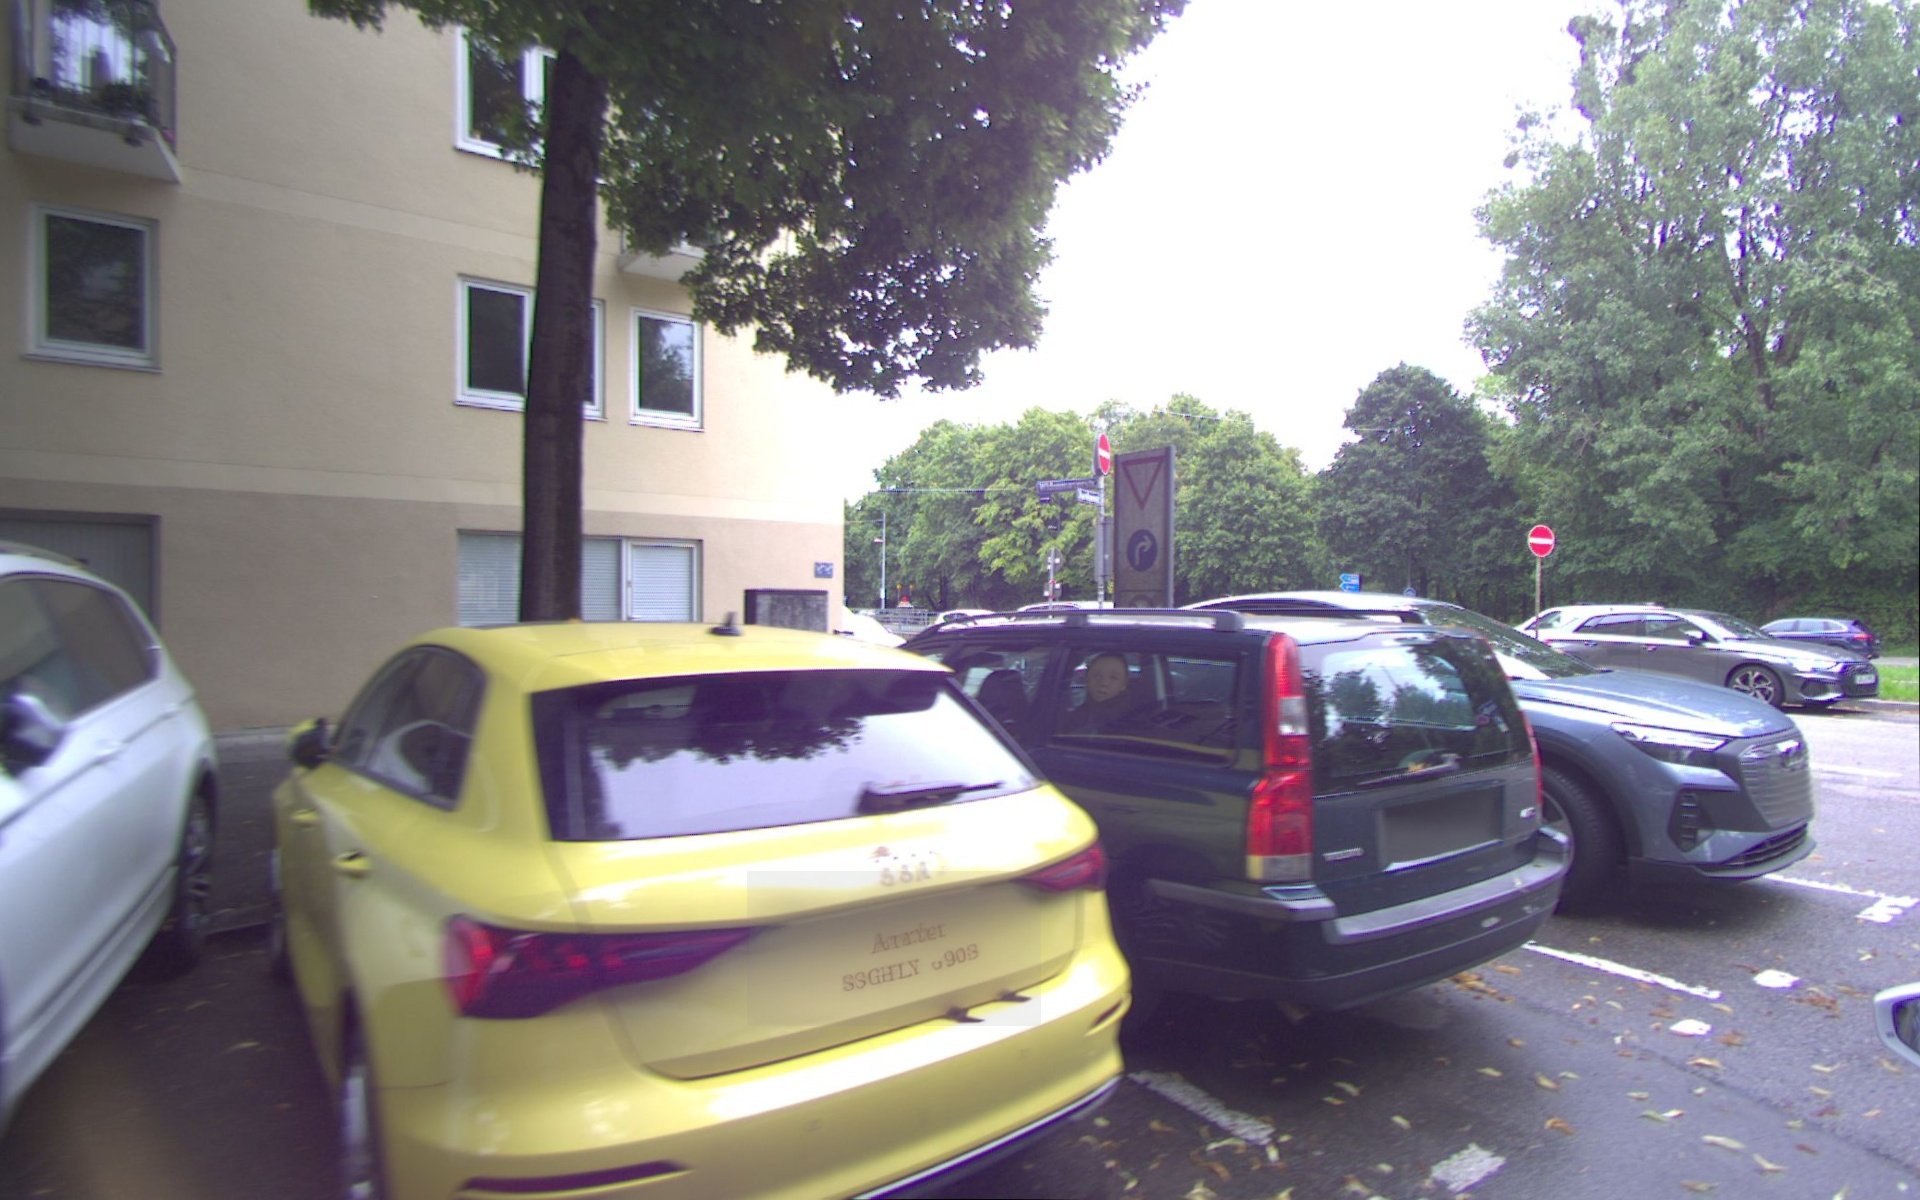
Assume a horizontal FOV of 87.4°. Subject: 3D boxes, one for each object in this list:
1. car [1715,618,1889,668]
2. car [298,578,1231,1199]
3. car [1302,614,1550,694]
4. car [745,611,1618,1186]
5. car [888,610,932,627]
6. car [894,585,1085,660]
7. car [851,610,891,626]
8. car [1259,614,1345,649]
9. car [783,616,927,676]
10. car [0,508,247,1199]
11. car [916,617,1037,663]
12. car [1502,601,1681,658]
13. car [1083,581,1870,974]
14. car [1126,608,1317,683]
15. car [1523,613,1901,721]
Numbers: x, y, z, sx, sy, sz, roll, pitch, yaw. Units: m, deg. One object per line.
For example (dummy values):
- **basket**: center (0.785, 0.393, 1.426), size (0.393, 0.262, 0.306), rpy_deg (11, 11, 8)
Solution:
- **car**: center (29.358, 1.443, 35.131), size (1.915, 1.600, 4.400), rpy_deg (1, -1, -38)
- **car**: center (-1.165, 0.747, 3.417), size (1.723, 1.460, 3.854), rpy_deg (1, -1, -35)
- **car**: center (8.958, 0.977, 19.733), size (1.746, 1.398, 4.334), rpy_deg (1, -1, -25)
- **car**: center (0.542, 0.817, 4.755), size (1.718, 1.483, 3.963), rpy_deg (0, -1, -34)
- **car**: center (-4.198, 1.561, 83.889), size (1.900, 1.372, 3.962), rpy_deg (1, -1, -34)
- **car**: center (0.508, 0.463, 21.114), size (1.753, 1.398, 4.317), rpy_deg (1, -1, -36)
- **car**: center (-7.955, 1.629, 89.190), size (1.978, 1.372, 3.965), rpy_deg (1, -1, -32)
- **car**: center (17.626, 1.588, 51.908), size (1.803, 1.715, 3.964), rpy_deg (1, -1, -33)
- **car**: center (-2.779, 1.120, 25.870), size (1.753, 1.398, 4.317), rpy_deg (1, -1, -36)
- **car**: center (-3.213, 0.615, 2.492), size (1.813, 1.618, 4.429), rpy_deg (1, 0, -29)
- **car**: center (0.482, 1.276, 33.144), size (1.753, 1.398, 4.317), rpy_deg (1, -1, -36)
- **car**: center (20.005, 0.907, 31.972), size (1.915, 1.690, 4.471), rpy_deg (1, -1, -38)
- **car**: center (2.798, 0.764, 6.380), size (1.717, 1.622, 4.137), rpy_deg (-1, 0, -34)
- **car**: center (6.109, 0.999, 23.986), size (1.975, 1.586, 4.389), rpy_deg (1, 0, -28)
- **car**: center (11.182, 0.911, 15.329), size (1.746, 1.398, 4.334), rpy_deg (1, -1, -25)
